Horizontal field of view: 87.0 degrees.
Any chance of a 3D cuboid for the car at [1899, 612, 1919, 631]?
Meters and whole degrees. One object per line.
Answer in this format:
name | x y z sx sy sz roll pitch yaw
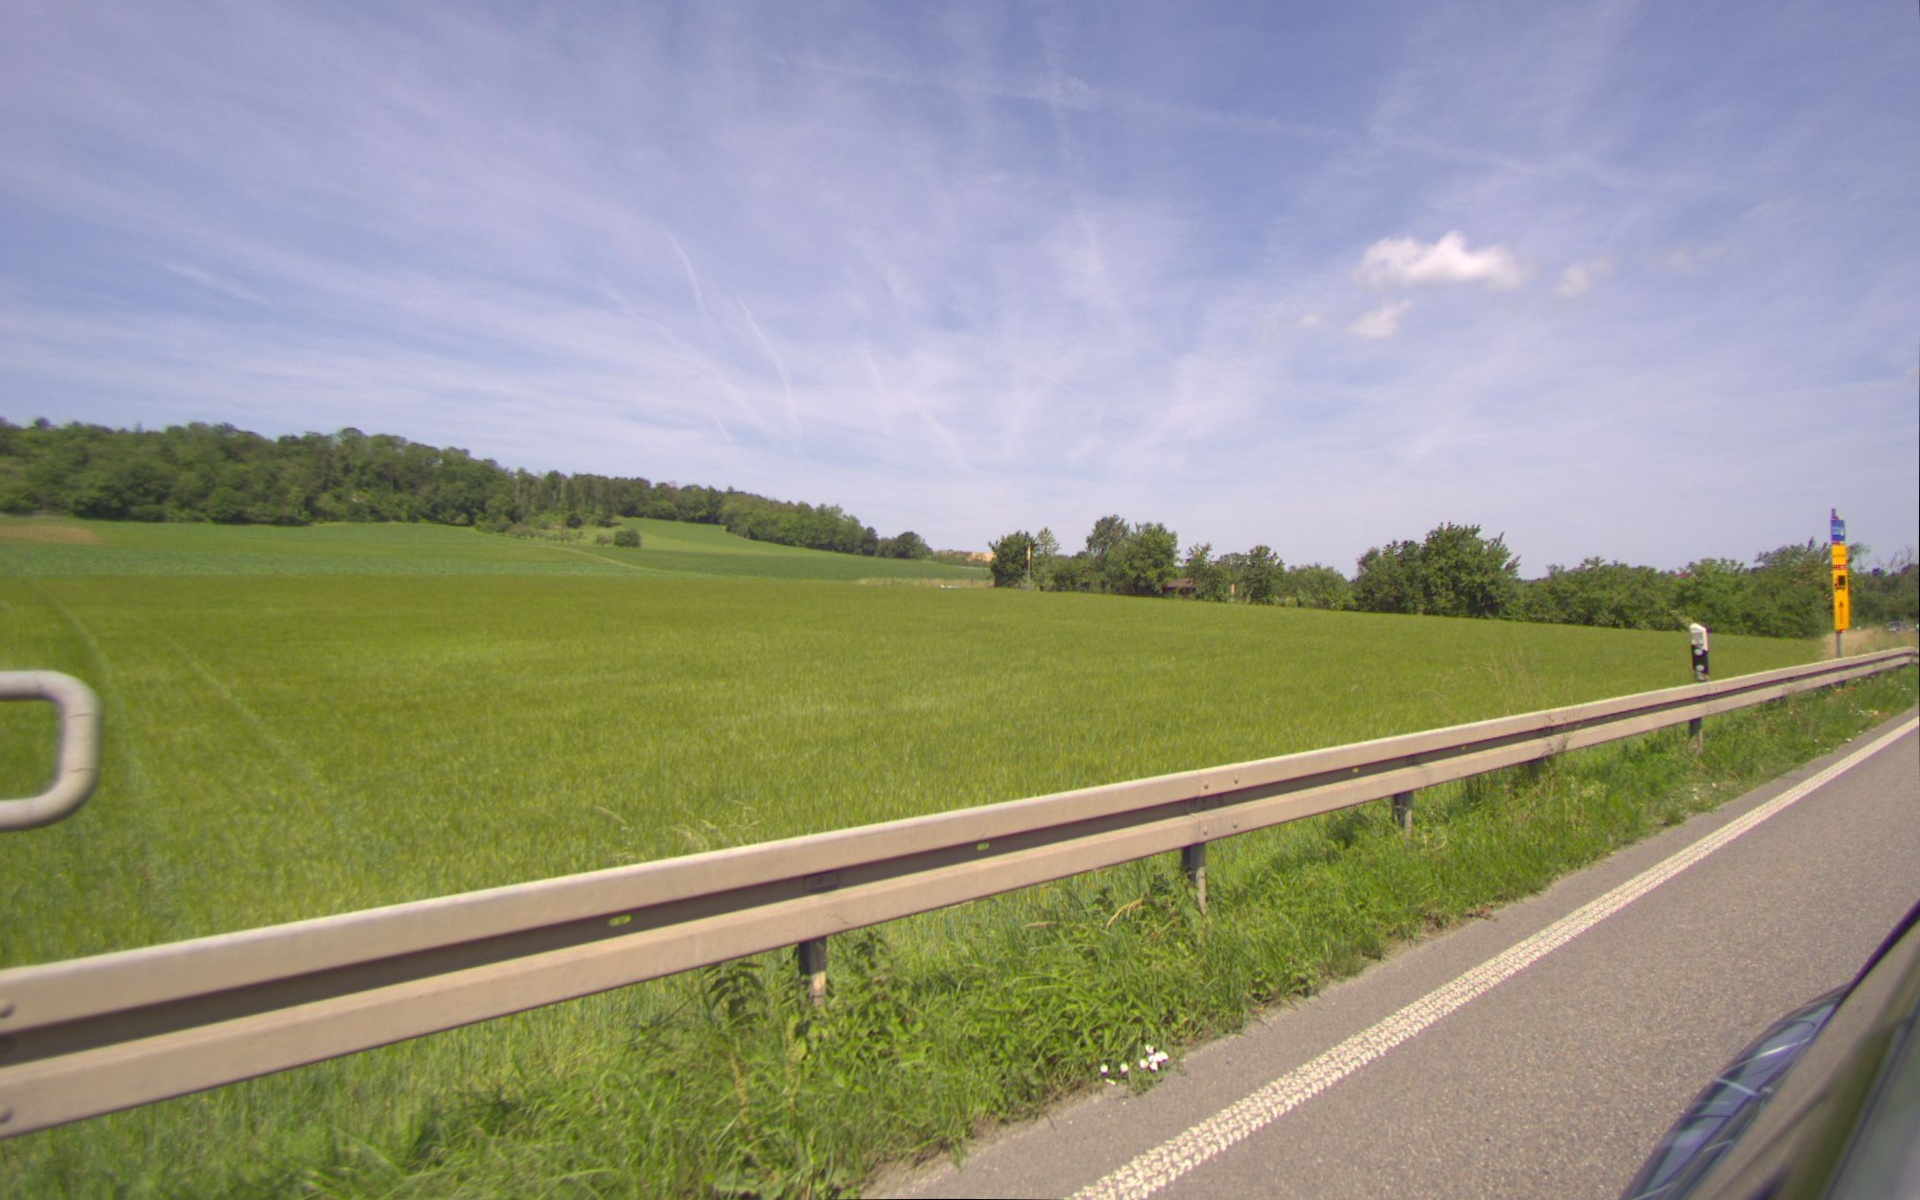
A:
car | 84.014 1.888 88.941 1.922 1.468 3.943 1 1 39
